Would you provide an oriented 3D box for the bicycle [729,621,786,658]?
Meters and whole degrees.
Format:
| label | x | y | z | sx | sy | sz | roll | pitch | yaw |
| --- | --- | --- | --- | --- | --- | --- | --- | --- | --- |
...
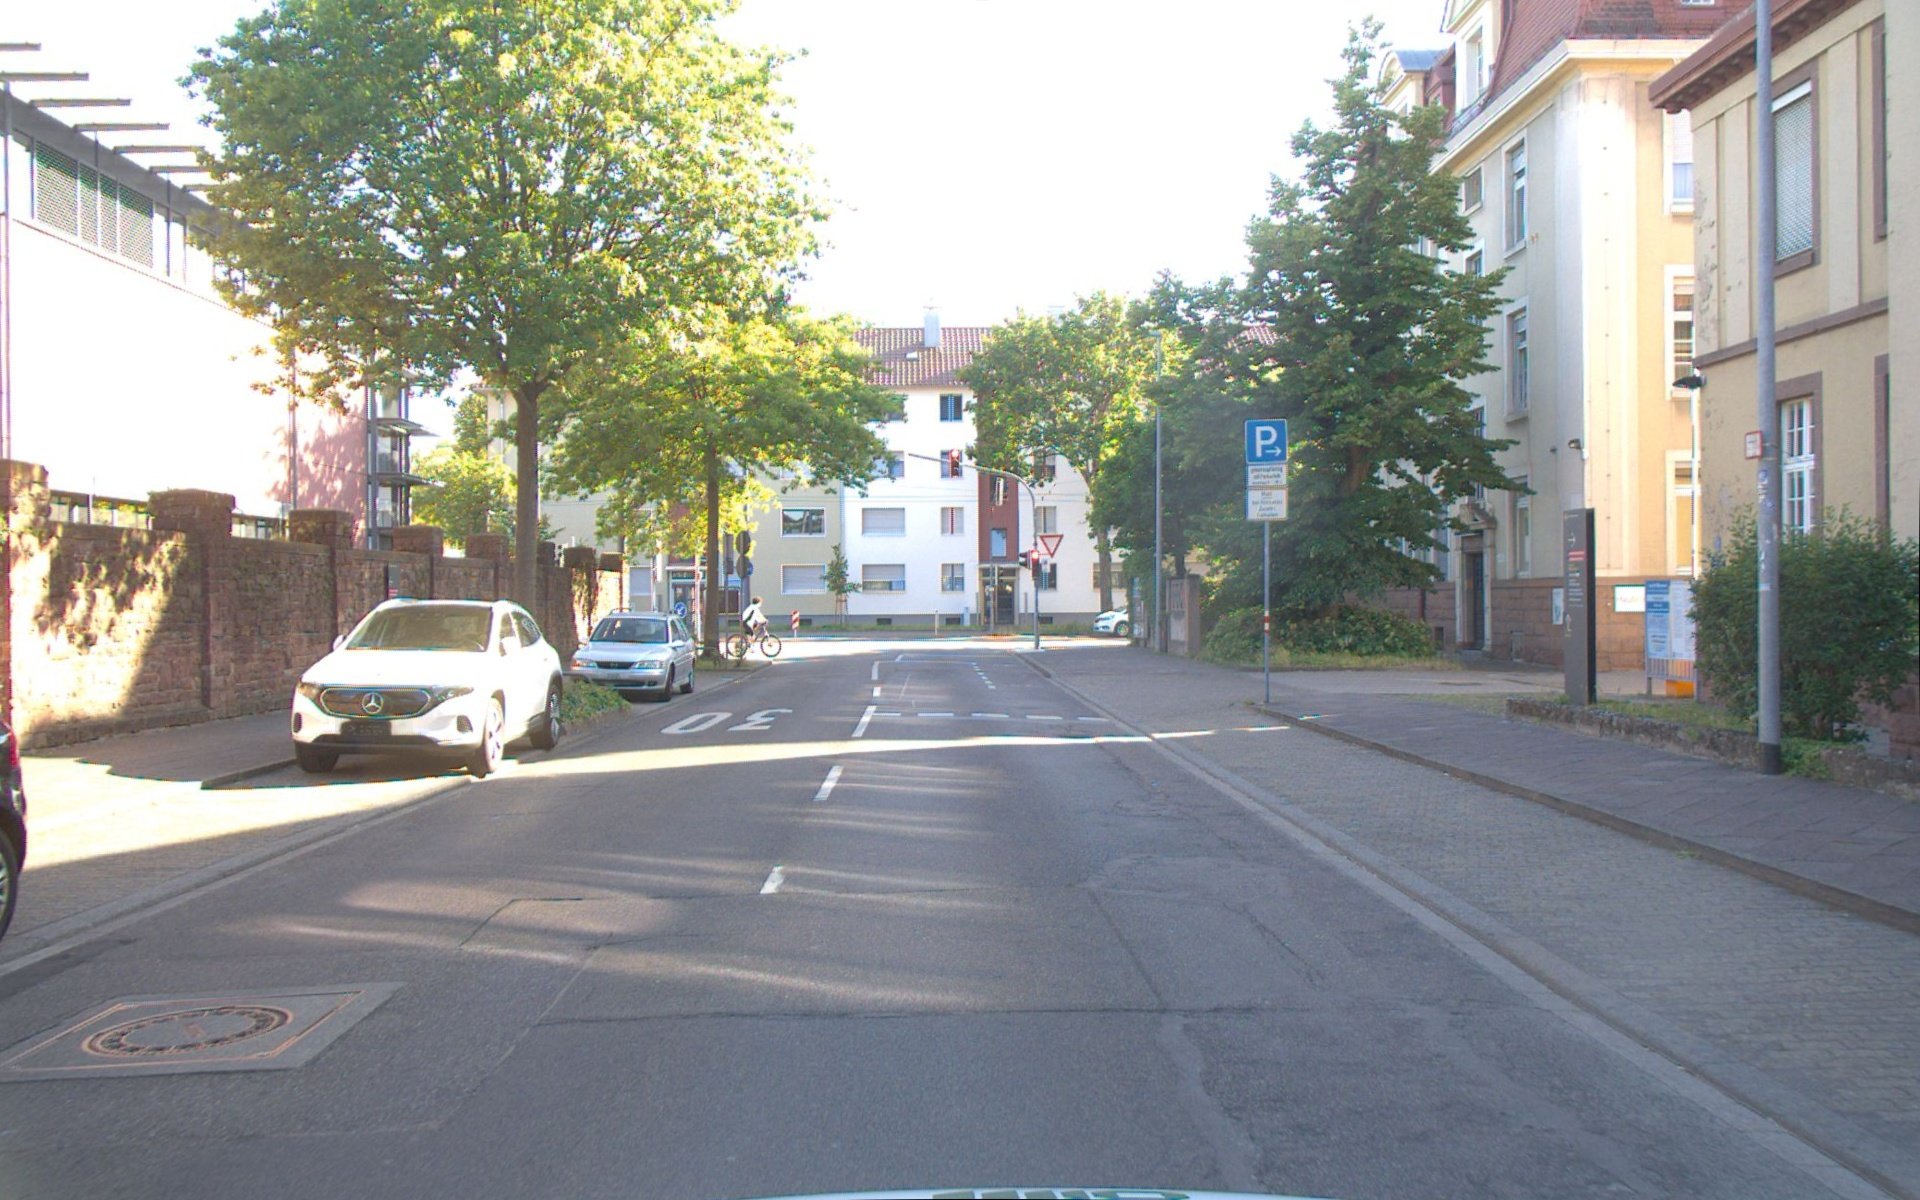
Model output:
| label | x | y | z | sx | sy | sz | roll | pitch | yaw |
| --- | --- | --- | --- | --- | --- | --- | --- | --- | --- |
| bicycle | -5.981 | 1.163 | 48.896 | 1.650 | 1.099 | 0.351 | 0 | 0 | -4 |

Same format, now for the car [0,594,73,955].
| label | x | y | z | sx | sy | sz | roll | pitch | yaw |
| --- | --- | --- | --- | --- | --- | --- | --- | --- | --- |
| car | -5.162 | 0.785 | 5.967 | 1.701 | 1.620 | 4.106 | 0 | 0 | 0 |

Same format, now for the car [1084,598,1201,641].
| label | x | y | z | sx | sy | sz | roll | pitch | yaw |
| --- | --- | --- | --- | --- | --- | --- | --- | --- | --- |
| car | 7.745 | 0.802 | 70.430 | 4.582 | 1.770 | 1.993 | 0 | 0 | -14 |

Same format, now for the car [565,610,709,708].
| label | x | y | z | sx | sy | sz | roll | pitch | yaw |
| --- | --- | --- | --- | --- | --- | --- | --- | --- | --- |
| car | -5.491 | 0.959 | 28.657 | 1.691 | 1.501 | 4.477 | 1 | 0 | -1 |

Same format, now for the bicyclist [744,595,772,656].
| label | x | y | z | sx | sy | sz | roll | pitch | yaw |
| --- | --- | --- | --- | --- | --- | --- | --- | --- | --- |
| bicyclist | -5.974 | 0.748 | 48.961 | 0.771 | 1.788 | 0.612 | 0 | 0 | -4 |

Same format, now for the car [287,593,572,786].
| label | x | y | z | sx | sy | sz | roll | pitch | yaw |
| --- | --- | --- | --- | --- | --- | --- | --- | --- | --- |
| car | -5.255 | 0.803 | 16.984 | 1.685 | 1.713 | 4.348 | 0 | 0 | -3 |
